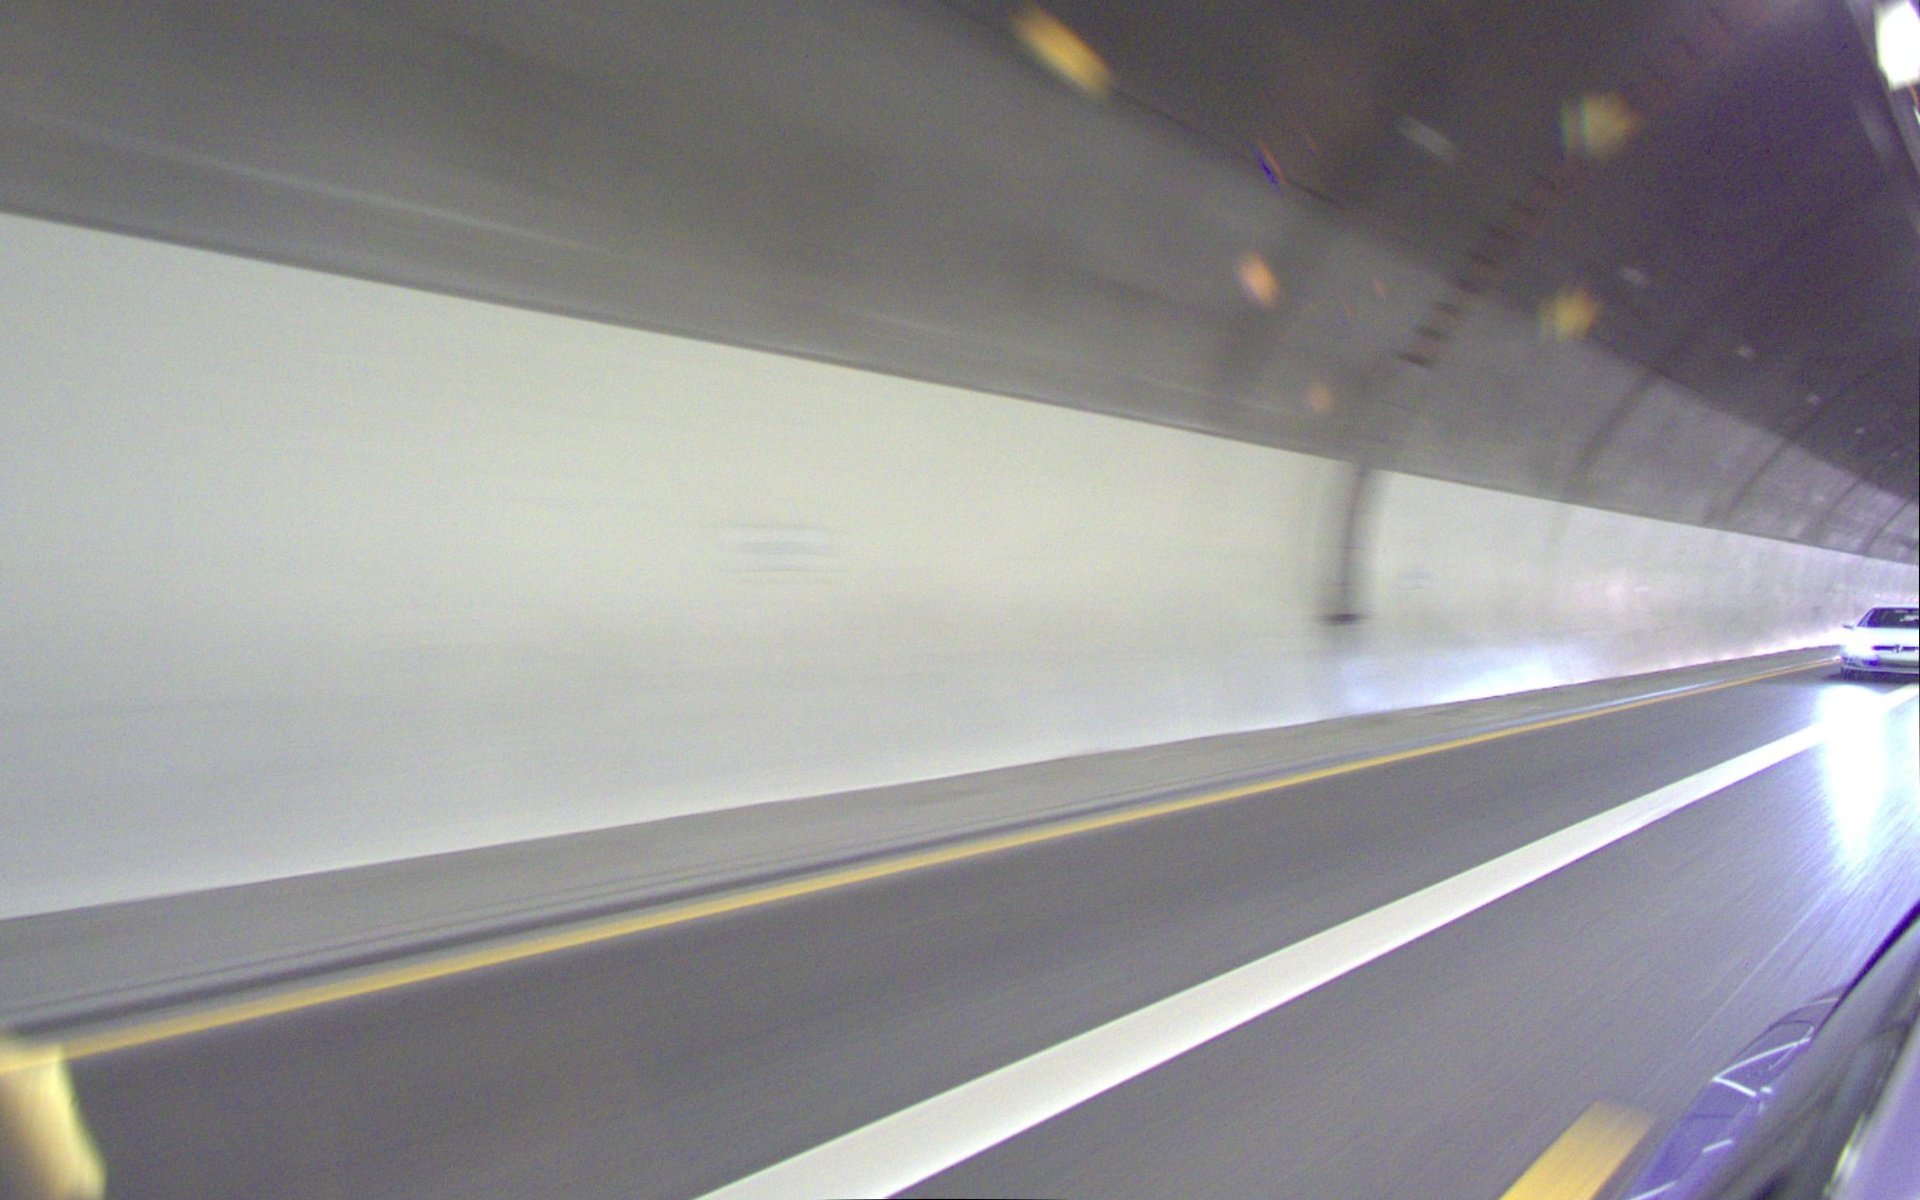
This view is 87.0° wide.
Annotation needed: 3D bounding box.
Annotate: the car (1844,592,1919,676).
[{"bbox_3d":[18.369,0.599,19.220,3.963,1.479,1.801,0,1,-40],"label":"car"}]
